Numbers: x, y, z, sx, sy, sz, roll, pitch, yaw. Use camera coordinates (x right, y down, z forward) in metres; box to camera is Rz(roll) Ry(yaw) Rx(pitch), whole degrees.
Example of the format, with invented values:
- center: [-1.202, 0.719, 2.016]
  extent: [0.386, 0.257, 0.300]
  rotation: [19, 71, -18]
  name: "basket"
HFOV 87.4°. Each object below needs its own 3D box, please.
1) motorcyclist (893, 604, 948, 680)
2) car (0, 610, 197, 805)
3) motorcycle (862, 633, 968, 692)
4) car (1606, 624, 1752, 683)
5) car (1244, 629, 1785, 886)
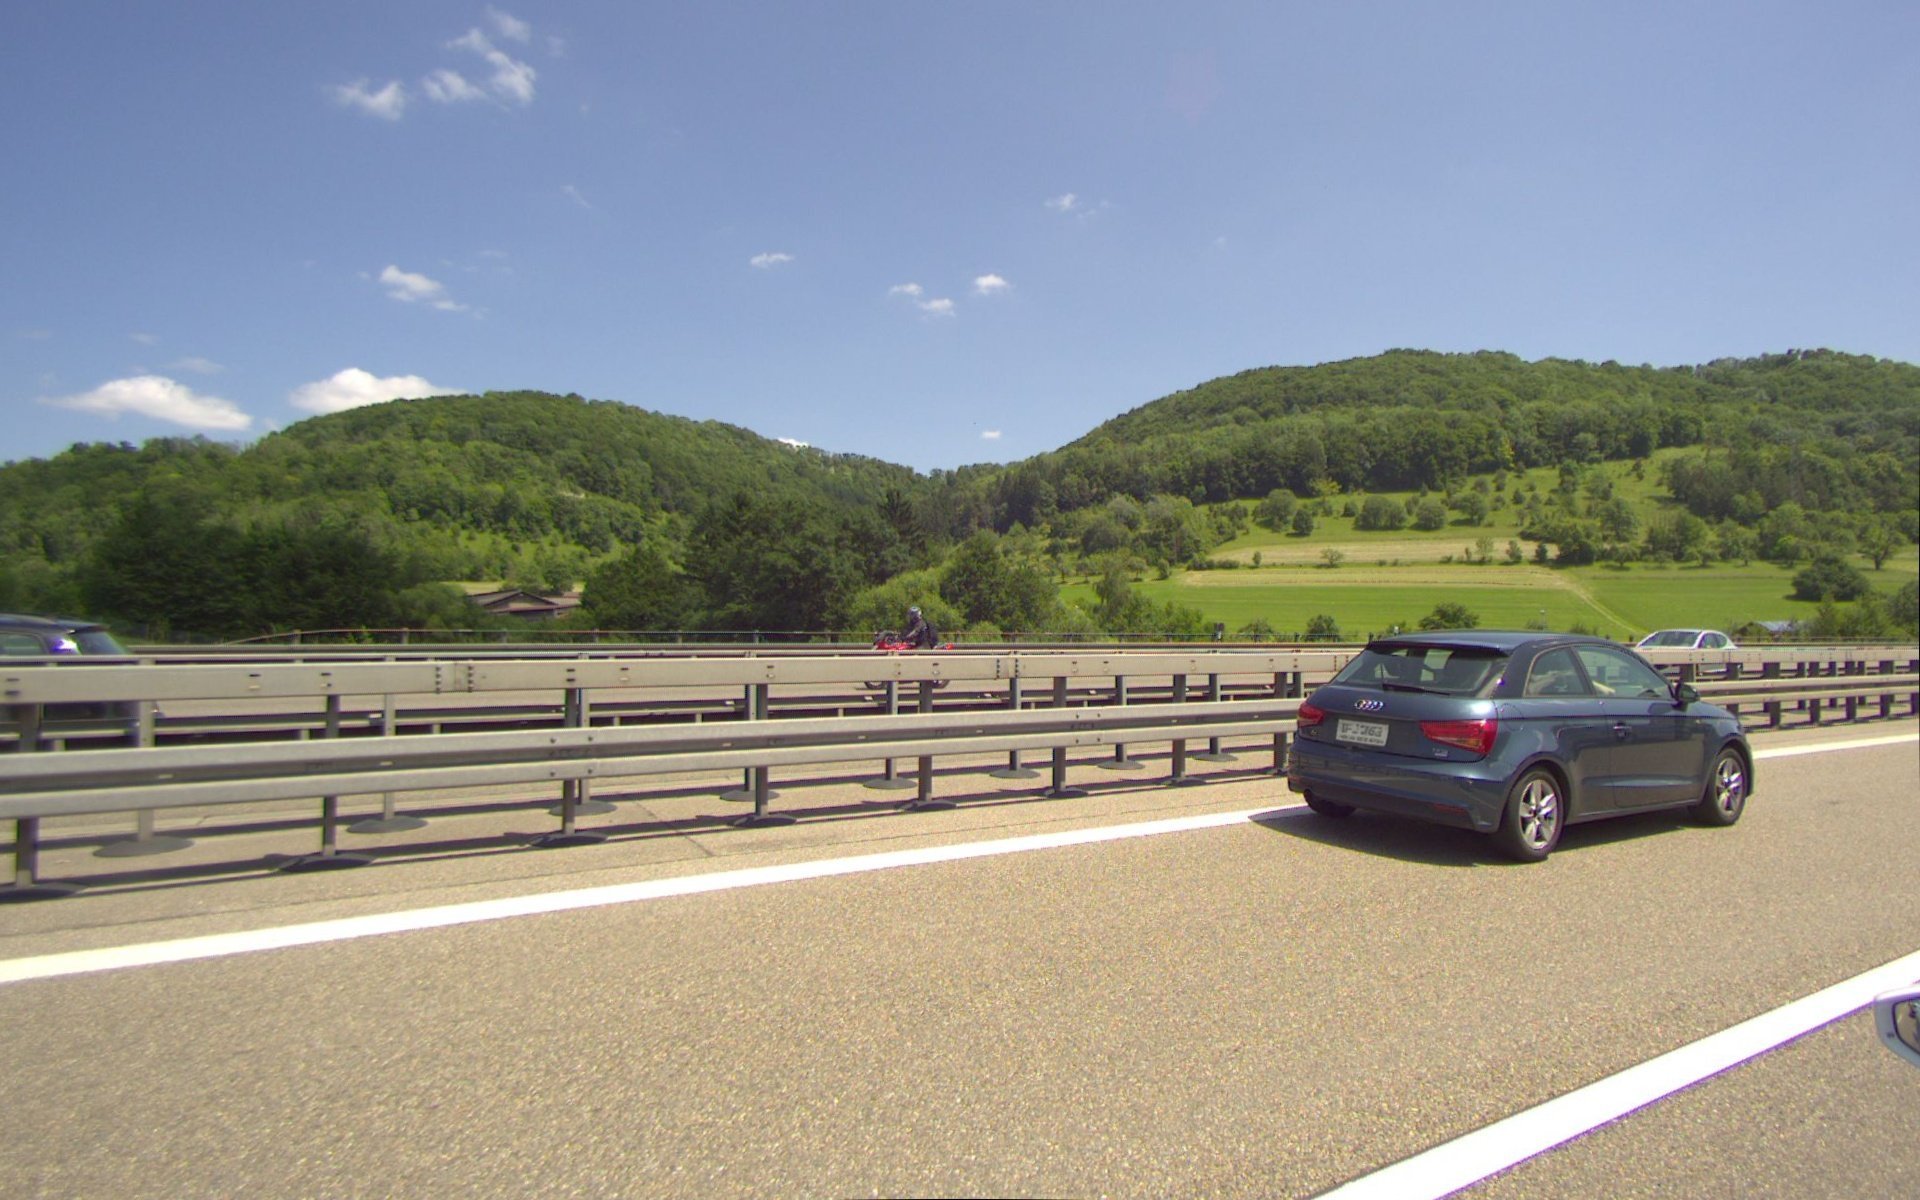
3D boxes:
- center: [-0.818, 0.862, 20.854]
  extent: [0.829, 1.521, 0.840]
  rotation: [1, -1, -31]
  name: "motorcyclist"
- center: [-8.896, 0.808, 7.757]
  extent: [4.576, 1.487, 1.740]
  rotation: [1, -1, -32]
  name: "car"
- center: [-0.920, 1.275, 20.805]
  extent: [2.106, 1.164, 0.714]
  rotation: [1, -1, -32]
  name: "motorcycle"
- center: [20.646, 1.508, 28.823]
  extent: [3.953, 1.517, 1.984]
  rotation: [2, 0, -30]
  name: "car"
- center: [4.124, 0.940, 7.343]
  extent: [3.952, 1.407, 1.681]
  rotation: [1, -1, -30]
  name: "car"
